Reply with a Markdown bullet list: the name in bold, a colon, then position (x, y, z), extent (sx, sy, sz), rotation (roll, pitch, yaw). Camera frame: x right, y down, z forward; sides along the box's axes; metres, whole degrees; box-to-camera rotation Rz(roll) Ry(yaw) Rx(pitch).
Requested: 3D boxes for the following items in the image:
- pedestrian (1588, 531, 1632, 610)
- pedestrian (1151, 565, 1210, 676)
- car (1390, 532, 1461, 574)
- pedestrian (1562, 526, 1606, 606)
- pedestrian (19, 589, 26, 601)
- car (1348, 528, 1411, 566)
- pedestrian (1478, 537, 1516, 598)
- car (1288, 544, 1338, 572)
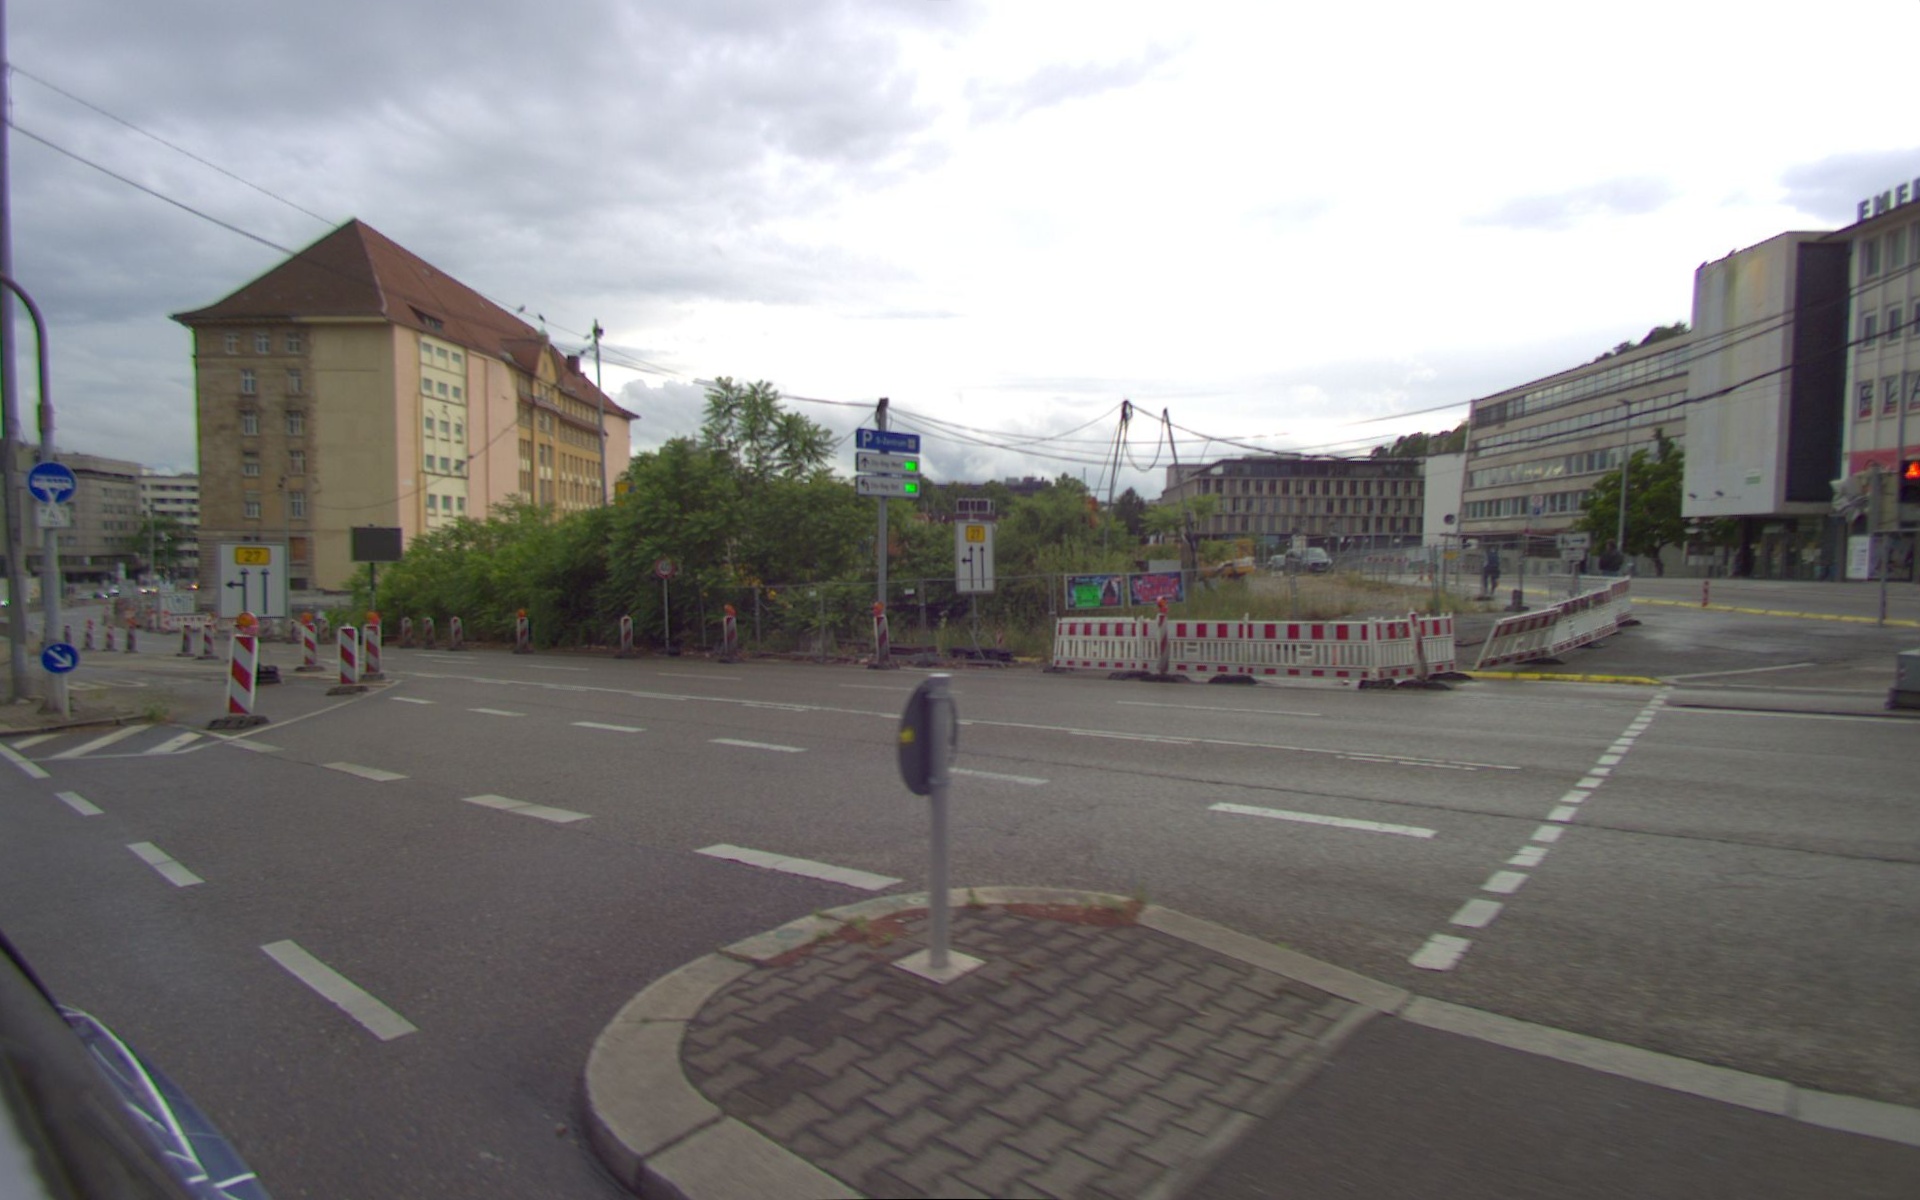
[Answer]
- **pedestrian**: position (17.964, -0.823, 27.965), extent (0.738, 2.156, 0.742), rotation (-1, 2, 5)
- **pedestrian**: position (3.968, 0.343, 18.200), extent (0.742, 1.936, 0.752), rotation (2, 3, 44)
- **car**: position (22.833, -2.282, 49.778), extent (1.790, 1.980, 3.996), rotation (0, 2, 4)
- **pedestrian**: position (17.190, -0.944, 27.884), extent (0.738, 2.187, 0.701), rotation (0, 2, 5)
- **pedestrian**: position (-135.412, -0.739, 146.229), extent (0.638, 1.682, 0.768), rotation (1, 1, -37)
- **car**: position (22.981, -2.876, 55.548), extent (1.974, 2.028, 3.996), rotation (0, 2, 4)
- **pedestrian**: position (17.010, -1.024, 32.054), extent (0.758, 1.866, 0.783), rotation (-2, 1, 5)
- **car**: position (22.530, -2.666, 64.694), extent (1.974, 1.718, 3.996), rotation (0, 2, 4)
